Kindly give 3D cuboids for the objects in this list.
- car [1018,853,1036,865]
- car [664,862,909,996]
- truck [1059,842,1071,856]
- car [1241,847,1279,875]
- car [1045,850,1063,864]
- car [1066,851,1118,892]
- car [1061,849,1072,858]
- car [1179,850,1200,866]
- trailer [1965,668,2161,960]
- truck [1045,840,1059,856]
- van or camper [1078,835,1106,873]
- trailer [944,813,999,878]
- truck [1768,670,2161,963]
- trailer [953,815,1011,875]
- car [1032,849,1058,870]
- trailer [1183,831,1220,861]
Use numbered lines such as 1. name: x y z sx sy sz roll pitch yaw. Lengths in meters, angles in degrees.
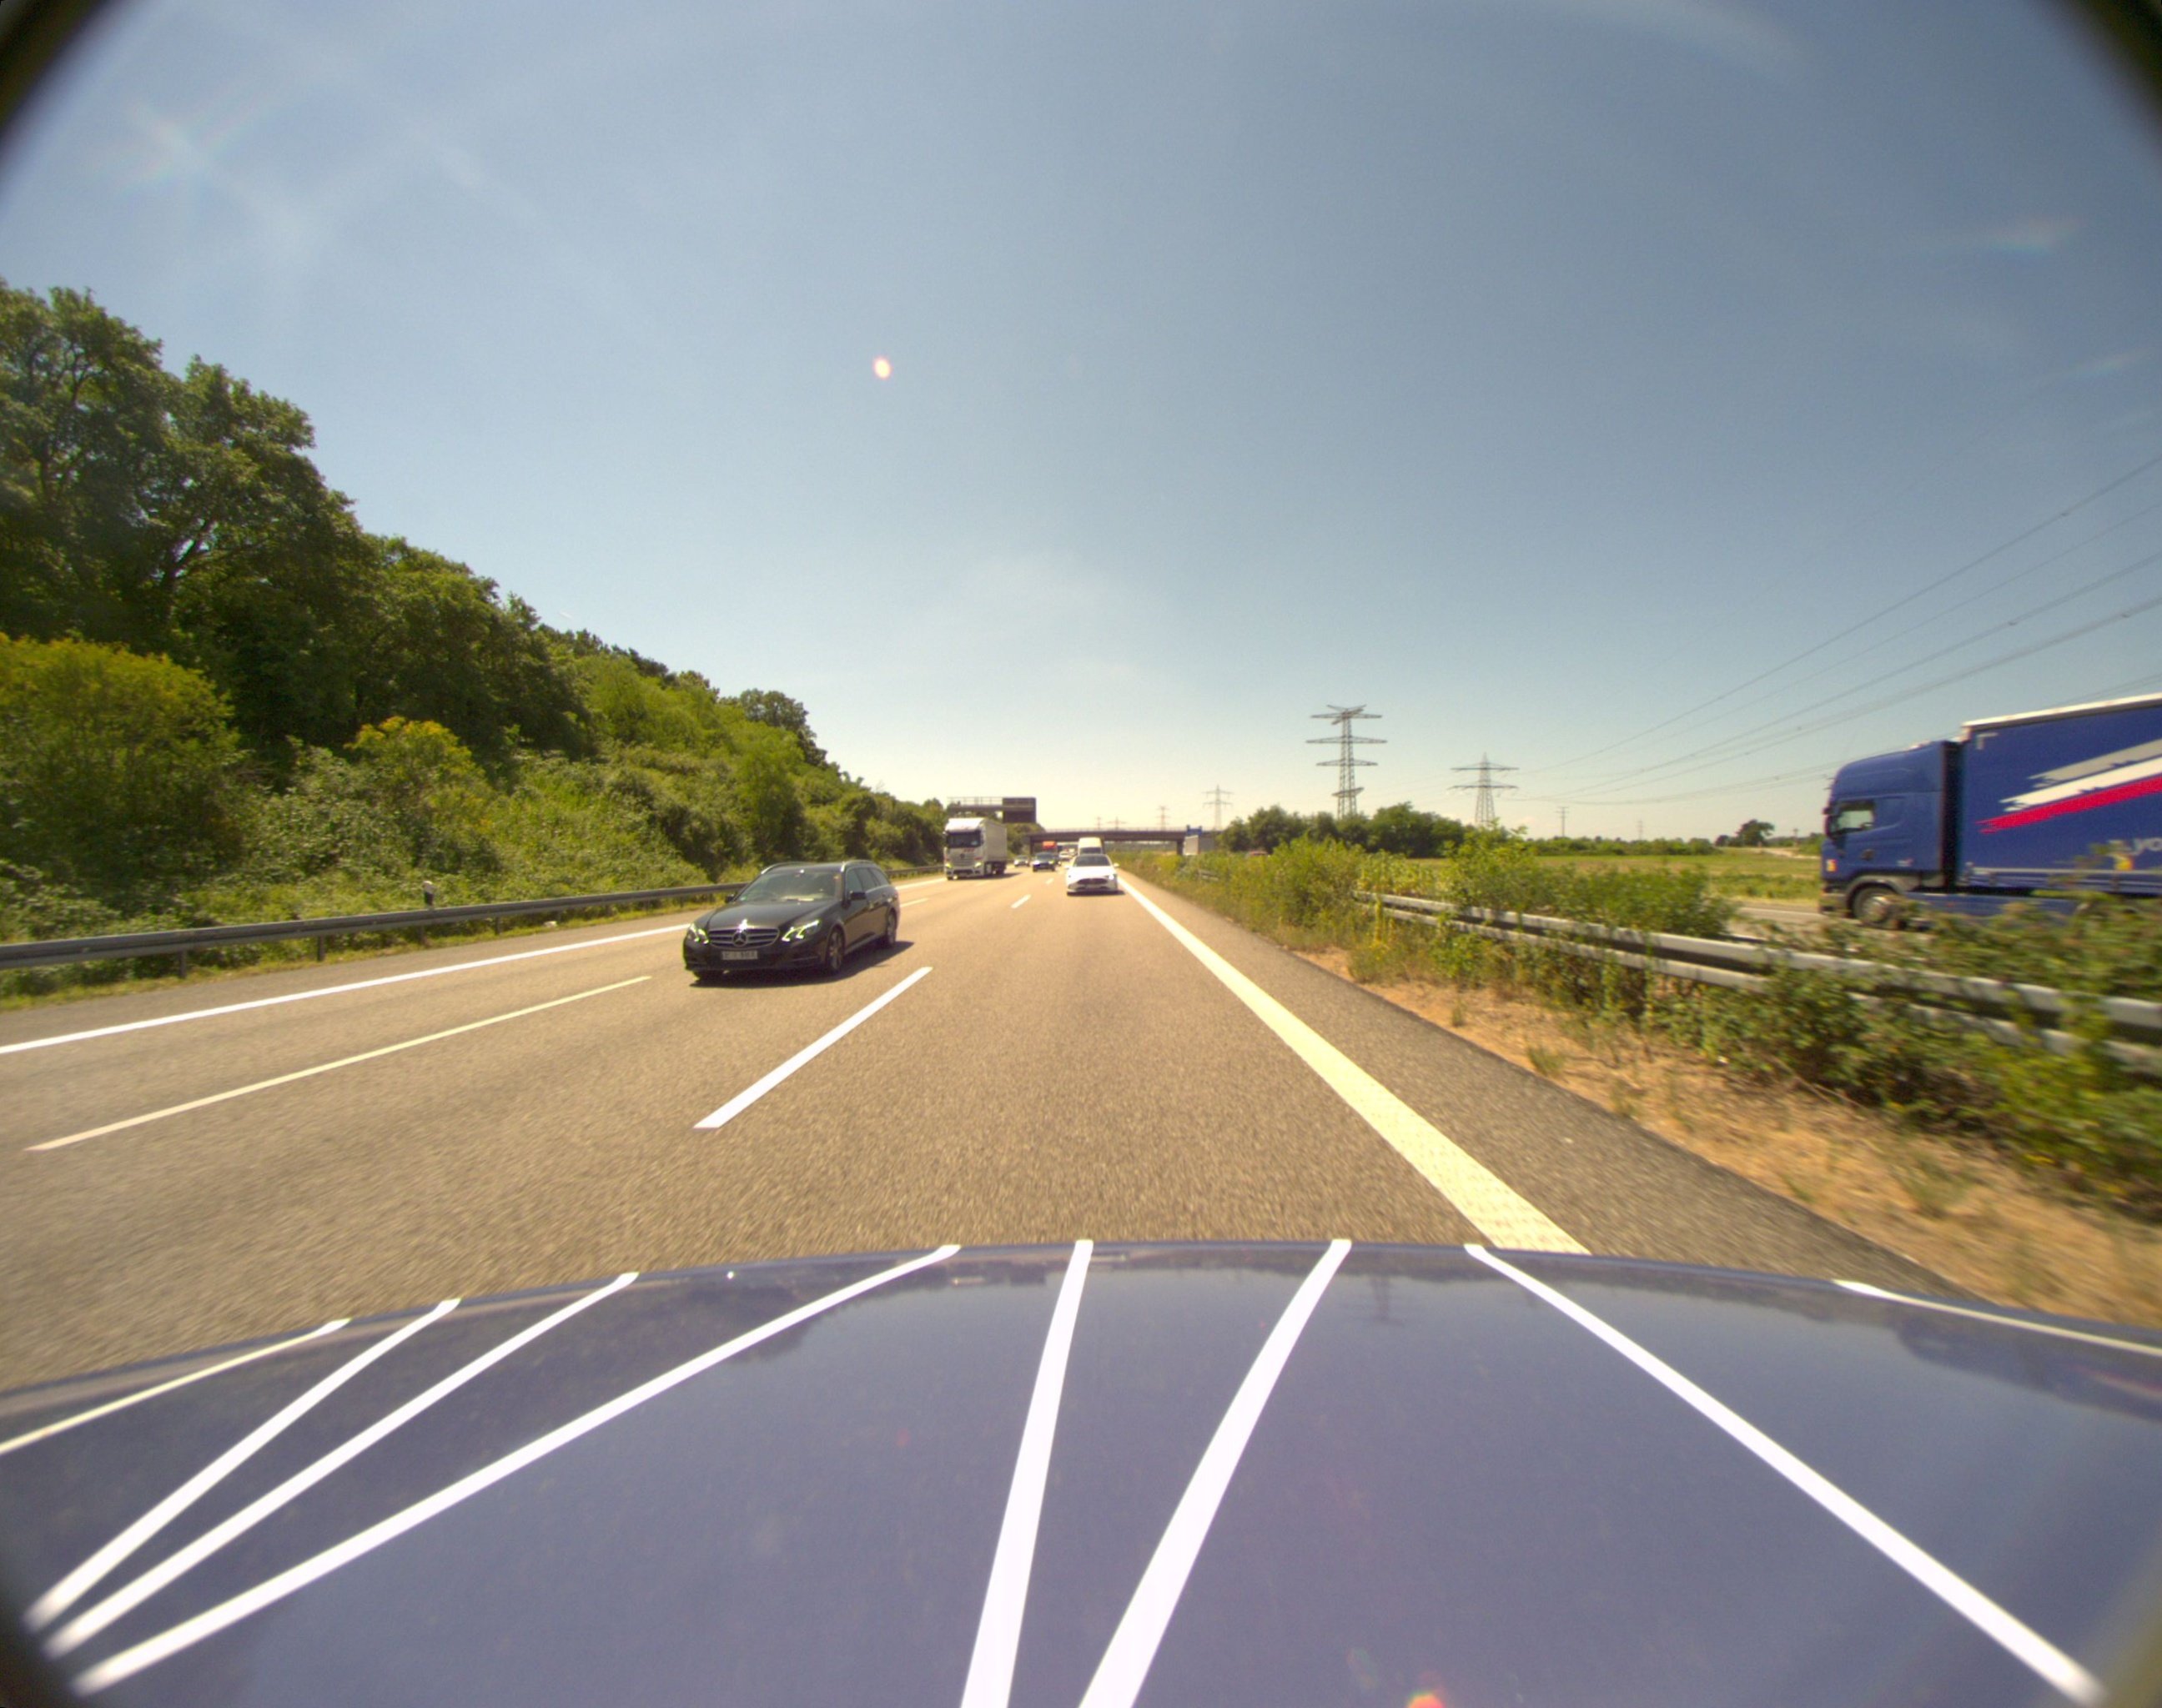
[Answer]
1. car: -6.710 0.608 94.511 1.840 1.403 4.558 -2 0 0
2. car: -4.079 0.923 11.520 1.846 1.496 4.737 -2 0 0
3. truck: -4.880 -1.580 232.849 3.507 3.891 9.645 -1 1 -2
4. car: 14.242 0.519 60.609 1.998 2.002 4.293 -3 1 1
5. car: -3.192 0.319 90.361 1.984 1.671 4.557 0 1 -1
6. car: 0.409 0.666 31.615 1.984 1.525 4.558 -1 0 -1
7. car: -2.553 -0.079 133.706 1.984 1.525 4.137 -1 0 -1
8. car: 13.378 0.460 94.145 1.998 1.932 4.725 0 0 1
9. trailer: 17.645 -0.535 6.705 3.095 4.382 14.230 1 0 1
10. truck: -6.209 -1.272 163.974 2.582 3.204 5.712 -3 1 -1
11. van or camper: 0.878 -0.033 59.355 1.998 2.740 5.410 -2 0 2
12. trailer: -7.347 -0.587 52.048 2.720 4.079 6.788 -1 1 0
13. truck: 17.757 -0.556 14.483 3.095 4.382 6.800 1 1 1
14. trailer: -7.393 -0.671 58.651 2.736 4.079 13.187 -1 0 0
15. car: -3.080 0.460 66.127 1.984 1.671 4.558 -1 0 -1
16. trailer: 18.556 -1.239 117.874 3.376 4.383 14.318 1 0 0
